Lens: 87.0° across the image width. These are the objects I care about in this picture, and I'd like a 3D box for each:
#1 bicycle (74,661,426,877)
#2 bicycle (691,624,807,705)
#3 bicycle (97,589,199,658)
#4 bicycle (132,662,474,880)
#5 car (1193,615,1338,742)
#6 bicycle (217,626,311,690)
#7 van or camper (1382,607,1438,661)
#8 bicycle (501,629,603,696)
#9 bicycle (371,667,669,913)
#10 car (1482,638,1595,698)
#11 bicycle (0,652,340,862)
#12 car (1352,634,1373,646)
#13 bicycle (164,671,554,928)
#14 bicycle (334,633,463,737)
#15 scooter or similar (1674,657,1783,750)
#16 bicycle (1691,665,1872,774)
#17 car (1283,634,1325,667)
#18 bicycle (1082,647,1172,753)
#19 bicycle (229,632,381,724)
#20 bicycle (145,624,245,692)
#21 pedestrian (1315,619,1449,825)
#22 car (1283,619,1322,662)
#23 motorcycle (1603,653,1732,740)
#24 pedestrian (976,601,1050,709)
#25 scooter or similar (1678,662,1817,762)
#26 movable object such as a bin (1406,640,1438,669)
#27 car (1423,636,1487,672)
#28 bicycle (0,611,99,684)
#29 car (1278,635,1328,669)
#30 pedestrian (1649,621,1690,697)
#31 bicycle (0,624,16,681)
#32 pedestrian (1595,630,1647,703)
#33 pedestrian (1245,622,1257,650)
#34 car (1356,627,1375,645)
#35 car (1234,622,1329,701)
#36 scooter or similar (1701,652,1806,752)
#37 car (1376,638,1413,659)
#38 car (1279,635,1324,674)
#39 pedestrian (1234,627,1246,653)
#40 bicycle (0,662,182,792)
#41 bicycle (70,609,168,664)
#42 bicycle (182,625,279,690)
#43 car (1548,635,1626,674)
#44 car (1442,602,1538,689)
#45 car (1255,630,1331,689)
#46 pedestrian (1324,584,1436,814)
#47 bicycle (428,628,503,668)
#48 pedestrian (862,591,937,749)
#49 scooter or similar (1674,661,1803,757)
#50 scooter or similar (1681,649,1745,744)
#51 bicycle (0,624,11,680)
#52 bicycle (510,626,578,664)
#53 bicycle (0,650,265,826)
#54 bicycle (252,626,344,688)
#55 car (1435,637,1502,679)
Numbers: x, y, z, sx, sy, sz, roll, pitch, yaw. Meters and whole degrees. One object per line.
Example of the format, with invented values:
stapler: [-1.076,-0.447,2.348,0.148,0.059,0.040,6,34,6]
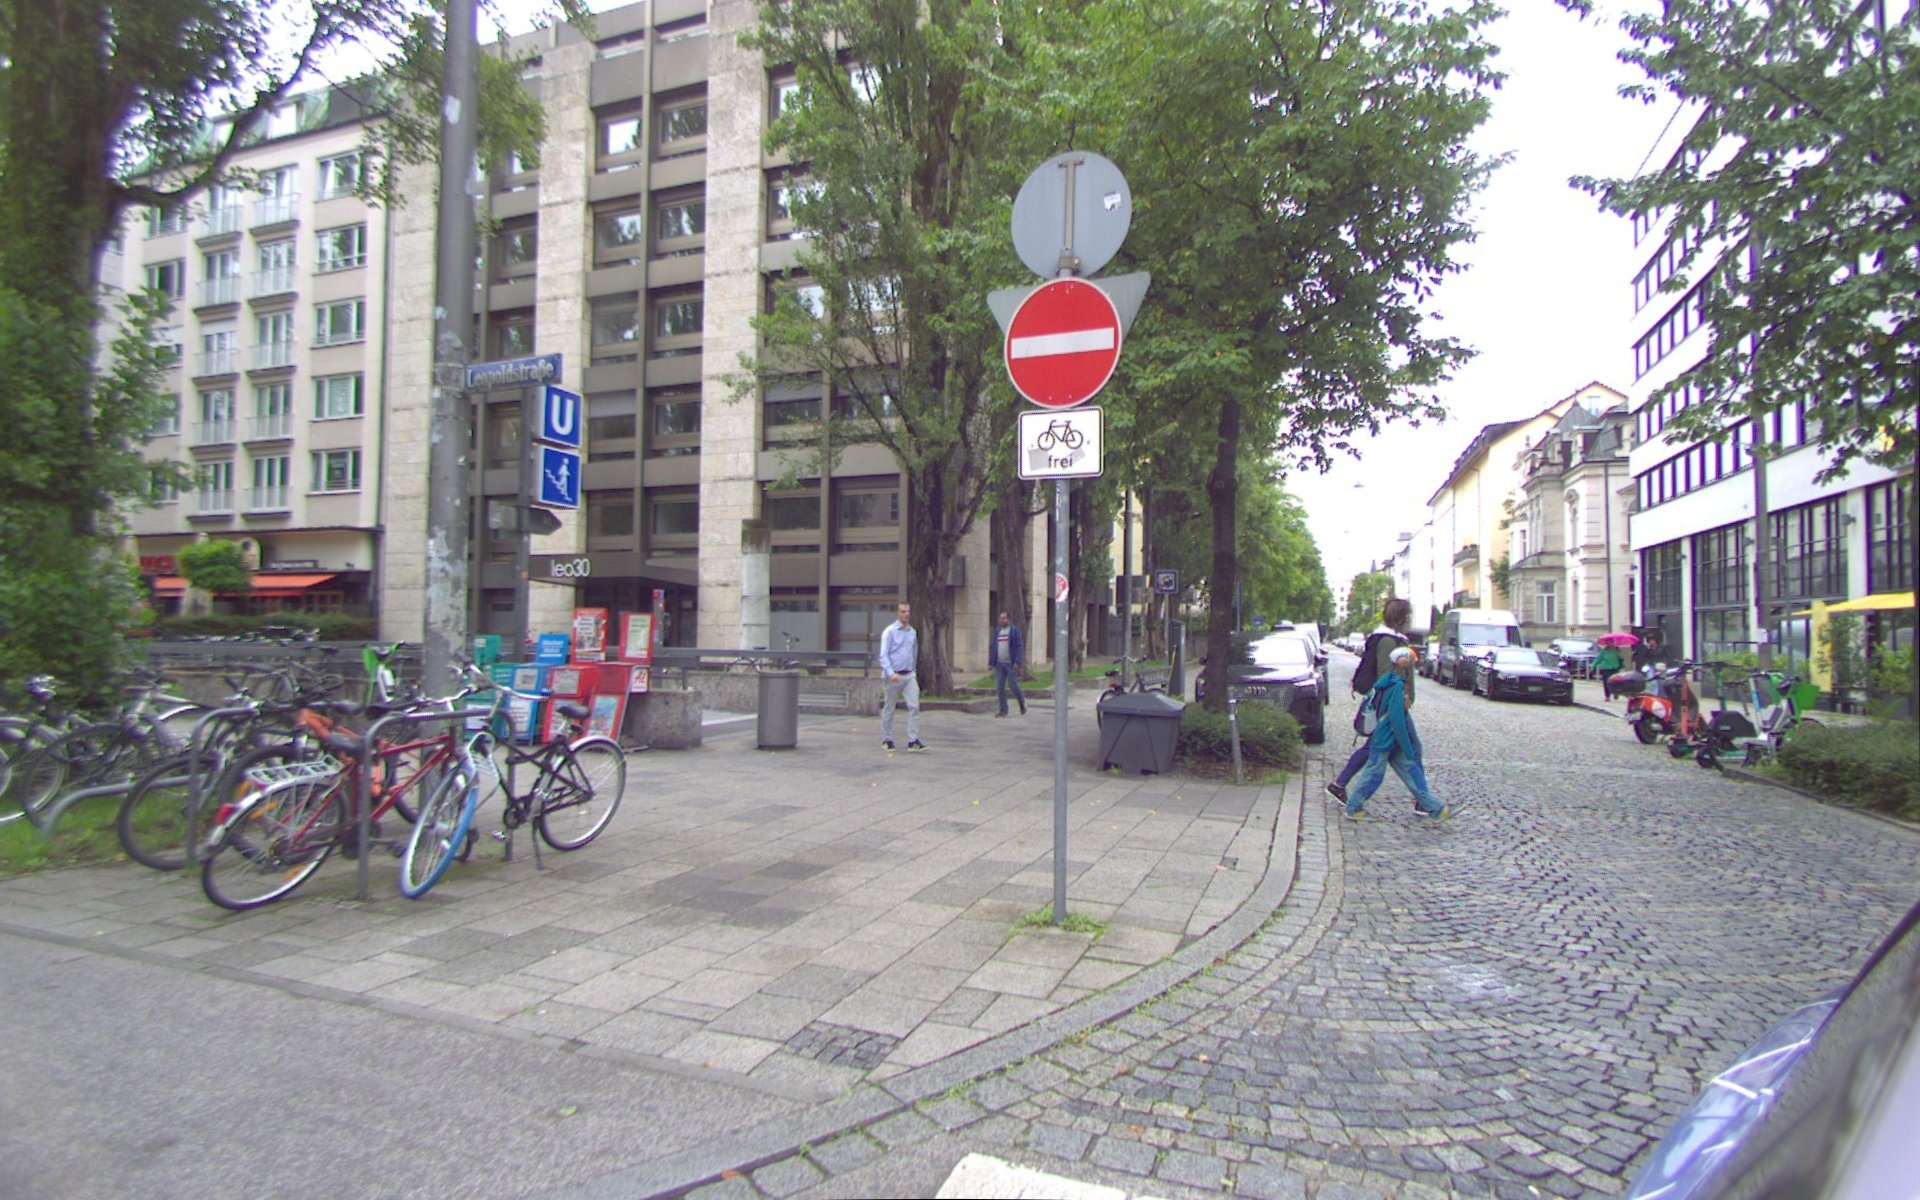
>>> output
bicycle: [-4.376,0.972,6.429,0.470,1.064,1.862,0,-1,22]
bicycle: [-3.584,1.068,17.191,1.848,1.293,0.716,0,-2,23]
bicycle: [-14.392,0.410,17.928,1.848,1.175,0.583,0,-2,23]
bicycle: [-4.007,0.975,6.372,0.470,1.064,1.862,0,-1,22]
car: [4.889,1.136,16.021,1.902,1.722,4.174,-1,-2,19]
bicycle: [-13.454,1.098,19.557,1.848,1.175,0.583,0,-2,23]
van or camper: [27.100,2.043,61.144,2.434,3.087,7.269,0,-2,19]
bicycle: [-7.527,1.126,18.661,1.848,1.175,0.583,0,-2,23]
bicycle: [-2.380,0.962,5.757,0.469,1.064,1.866,0,-1,16]
car: [14.809,1.692,26.141,1.977,1.347,4.084,0,-2,22]
bicycle: [-5.203,0.943,6.741,0.507,1.119,1.917,0,-1,21]
car: [46.036,4.562,115.761,1.973,1.428,3.850,-1,-2,18]
bicycle: [-3.068,0.945,5.423,0.470,1.064,1.861,0,-2,22]
bicycle: [-6.874,1.002,12.365,1.856,1.175,0.580,-1,-2,34]
scooter or similar: [10.712,1.418,14.152,0.382,1.195,1.253,1,-2,-11]
bicycle: [9.243,1.331,11.399,1.726,1.158,0.554,1,-2,-9]
car: [16.894,2.468,49.806,1.844,1.518,3.850,-1,-2,18]
bicycle: [2.055,1.162,12.281,0.472,1.151,1.856,-1,-2,29]
bicycle: [-8.782,1.022,13.571,1.841,1.175,0.585,0,-2,14]
bicycle: [-13.928,1.038,18.419,1.848,1.175,0.583,0,-2,23]
pedestrian: [3.202,0.873,7.665,0.766,1.438,0.807,-1,-2,37]
car: [20.770,2.460,61.472,2.062,2.464,5.575,-1,-2,19]
motorcycle: [10.780,1.463,15.410,1.950,1.211,0.772,4,-2,-27]
pedestrian: [0.888,0.908,16.953,0.865,1.736,0.898,-1,-3,40]
scooter or similar: [9.530,1.349,12.262,1.402,1.159,0.369,1,-2,-2]
movable object such as a bin: [21.982,2.577,48.143,1.238,1.315,1.167,0,-2,17]
car: [21.055,2.256,43.192,1.975,1.406,3.972,0,-2,20]
bicycle: [-15.285,0.770,16.867,1.962,1.175,0.583,0,-2,23]
car: [15.168,2.258,44.662,1.975,1.406,3.847,-1,-2,20]
pedestrian: [16.805,1.388,23.976,0.567,1.771,0.647,0,-2,14]
bicycle: [-20.441,1.071,20.484,0.581,1.175,1.854,0,-2,23]
pedestrian: [16.315,1.622,24.994,0.919,1.728,0.793,0,-2,24]
pedestrian: [16.008,1.979,55.665,0.637,1.557,0.705,0,-2,18]
car: [56.136,4.978,140.100,2.062,2.464,5.574,0,-2,19]
car: [7.901,1.437,24.788,1.993,1.722,4.642,-1,-2,19]
scooter or similar: [10.599,1.348,13.520,1.225,1.289,0.328,0,-2,-9]
car: [30.559,3.370,71.296,1.973,1.406,3.850,-1,-2,18]
car: [13.872,2.186,41.064,1.585,1.449,3.538,-2,-3,20]
pedestrian: [17.180,2.461,62.120,0.534,1.550,0.531,1,-2,-2]
bicycle: [-6.659,0.896,7.157,0.467,0.828,1.816,0,-1,26]
bicycle: [-19.034,0.820,22.912,1.837,1.175,0.586,1,-2,8]
bicycle: [-13.683,1.057,18.983,1.848,1.175,0.583,0,-2,23]
car: [26.600,2.269,43.051,1.889,1.552,4.142,0,-2,19]
car: [17.043,1.408,32.819,2.041,2.523,5.806,1,-1,21]
car: [9.891,1.703,30.018,1.974,1.603,4.313,-1,-2,19]
pedestrian: [3.359,0.755,8.085,0.686,1.723,0.655,-1,-3,37]
bicycle: [-15.039,1.443,30.847,0.640,1.170,2.229,0,-2,21]
pedestrian: [-0.701,0.792,11.686,0.698,1.747,0.671,1,-2,-18]
scooter or similar: [9.919,1.370,12.920,1.236,1.159,0.325,0,-2,22]
scooter or similar: [10.743,1.361,14.435,1.331,1.289,0.327,3,-3,-35]
bicycle: [-21.059,1.079,20.925,0.581,1.175,2.015,0,-2,23]
bicycle: [-13.220,1.420,32.219,0.640,1.170,2.229,0,-2,21]
bicycle: [-5.949,0.902,7.039,0.508,1.051,1.816,0,-1,26]
bicycle: [-13.192,1.120,20.166,1.848,1.175,0.583,0,-2,23]
car: [19.424,2.180,38.804,1.977,1.449,3.968,0,-2,23]
